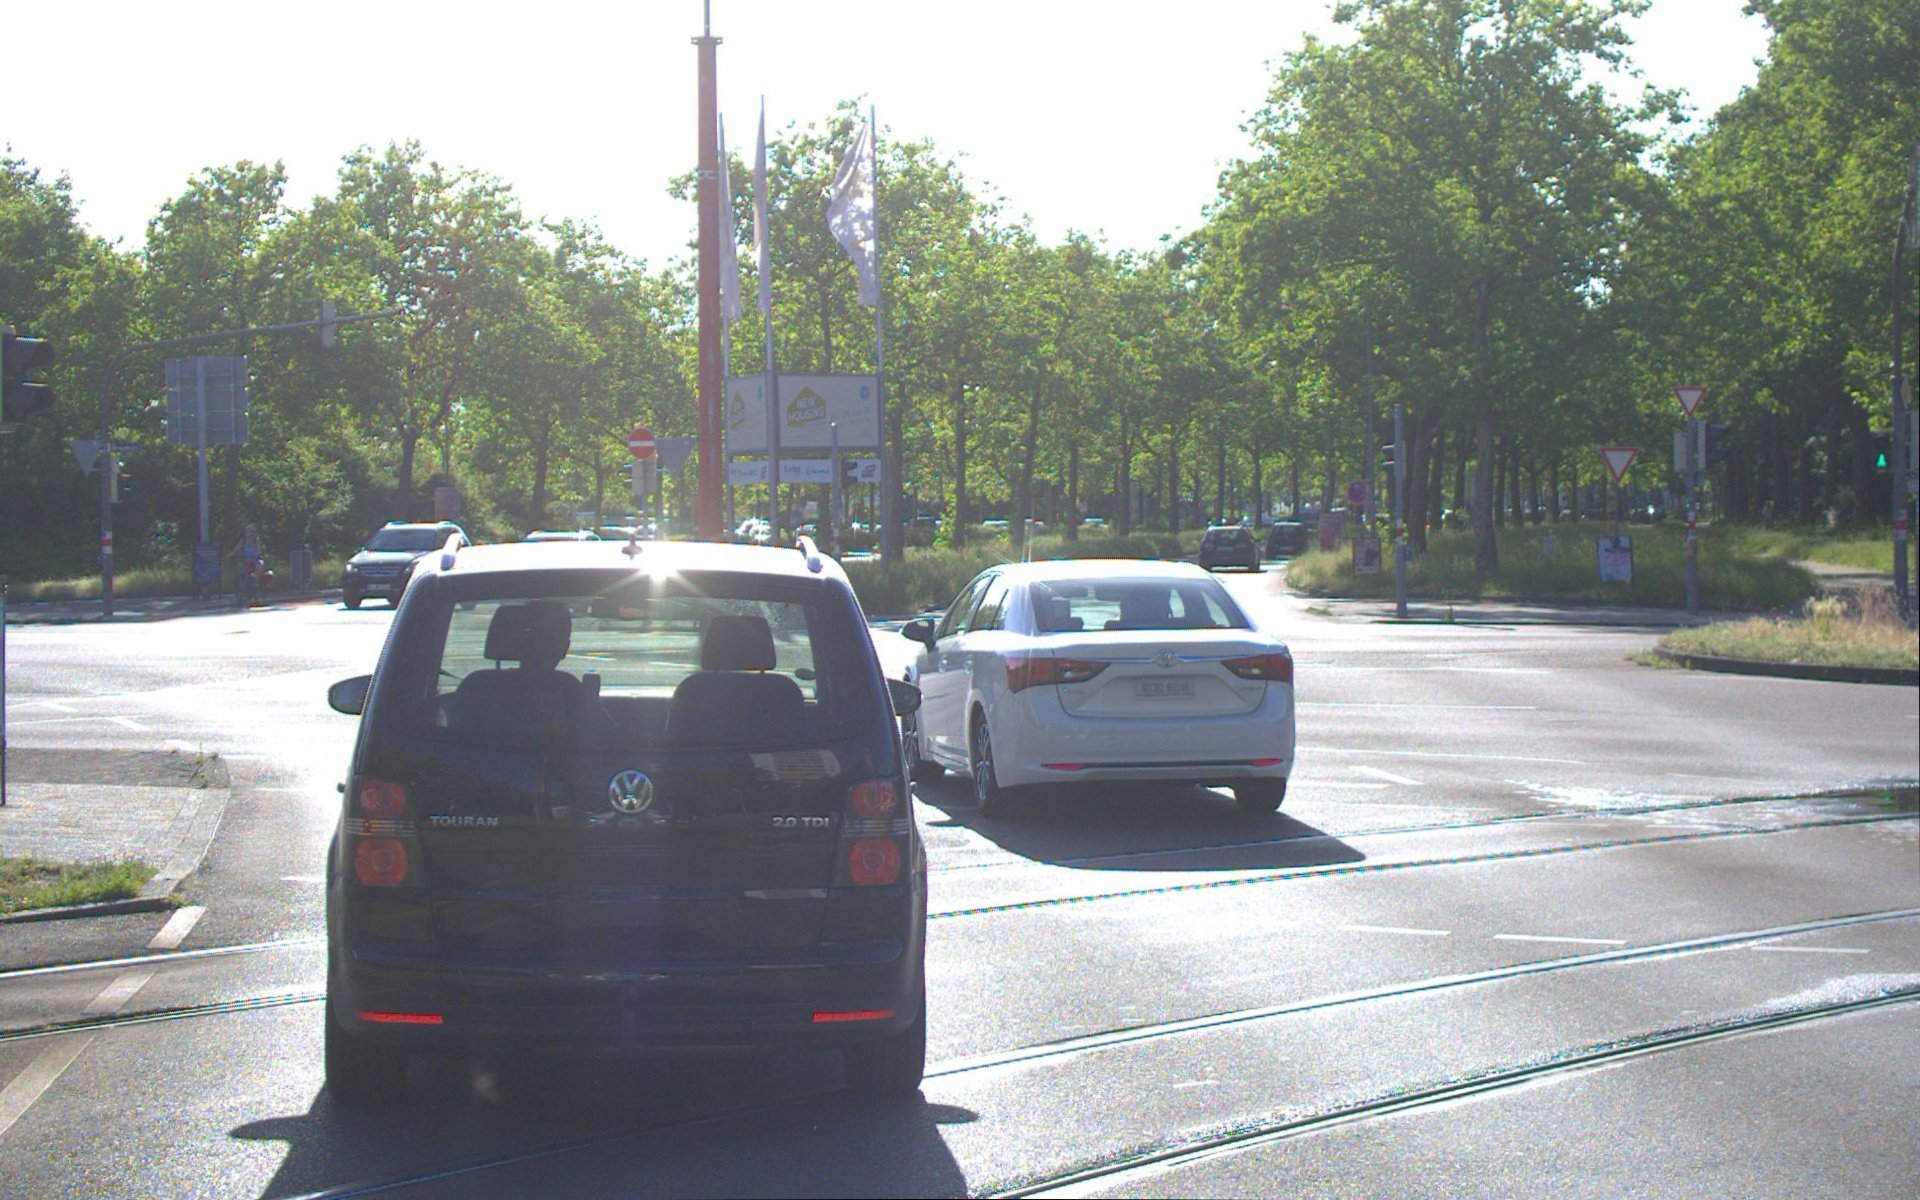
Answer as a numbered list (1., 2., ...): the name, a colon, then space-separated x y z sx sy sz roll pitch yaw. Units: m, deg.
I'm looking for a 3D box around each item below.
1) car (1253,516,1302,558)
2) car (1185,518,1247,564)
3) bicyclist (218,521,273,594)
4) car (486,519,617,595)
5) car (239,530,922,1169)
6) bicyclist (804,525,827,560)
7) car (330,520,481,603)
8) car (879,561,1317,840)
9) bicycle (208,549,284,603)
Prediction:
1. car: 12.763 -2.514 138.170 1.873 1.621 3.999 1 0 5
2. car: 8.058 -1.873 108.548 1.790 1.383 4.049 1 2 2
3. bicyclist: -15.469 -0.918 74.420 0.759 1.552 0.980 -1 2 15
4. car: -8.481 -0.921 71.639 1.768 1.533 4.090 0 1 7
5. car: -1.080 0.600 11.446 1.767 1.638 4.924 0 1 -2
6. bicyclist: -5.918 -2.364 140.893 0.735 1.431 0.965 -1 1 12
7. car: -11.883 -0.859 73.955 1.903 1.720 4.652 0 1 8
8. car: 0.719 0.522 21.020 1.767 1.459 4.367 -1 1 -10
9. bicycle: -15.455 -0.523 74.429 0.764 1.087 2.014 -1 2 15
